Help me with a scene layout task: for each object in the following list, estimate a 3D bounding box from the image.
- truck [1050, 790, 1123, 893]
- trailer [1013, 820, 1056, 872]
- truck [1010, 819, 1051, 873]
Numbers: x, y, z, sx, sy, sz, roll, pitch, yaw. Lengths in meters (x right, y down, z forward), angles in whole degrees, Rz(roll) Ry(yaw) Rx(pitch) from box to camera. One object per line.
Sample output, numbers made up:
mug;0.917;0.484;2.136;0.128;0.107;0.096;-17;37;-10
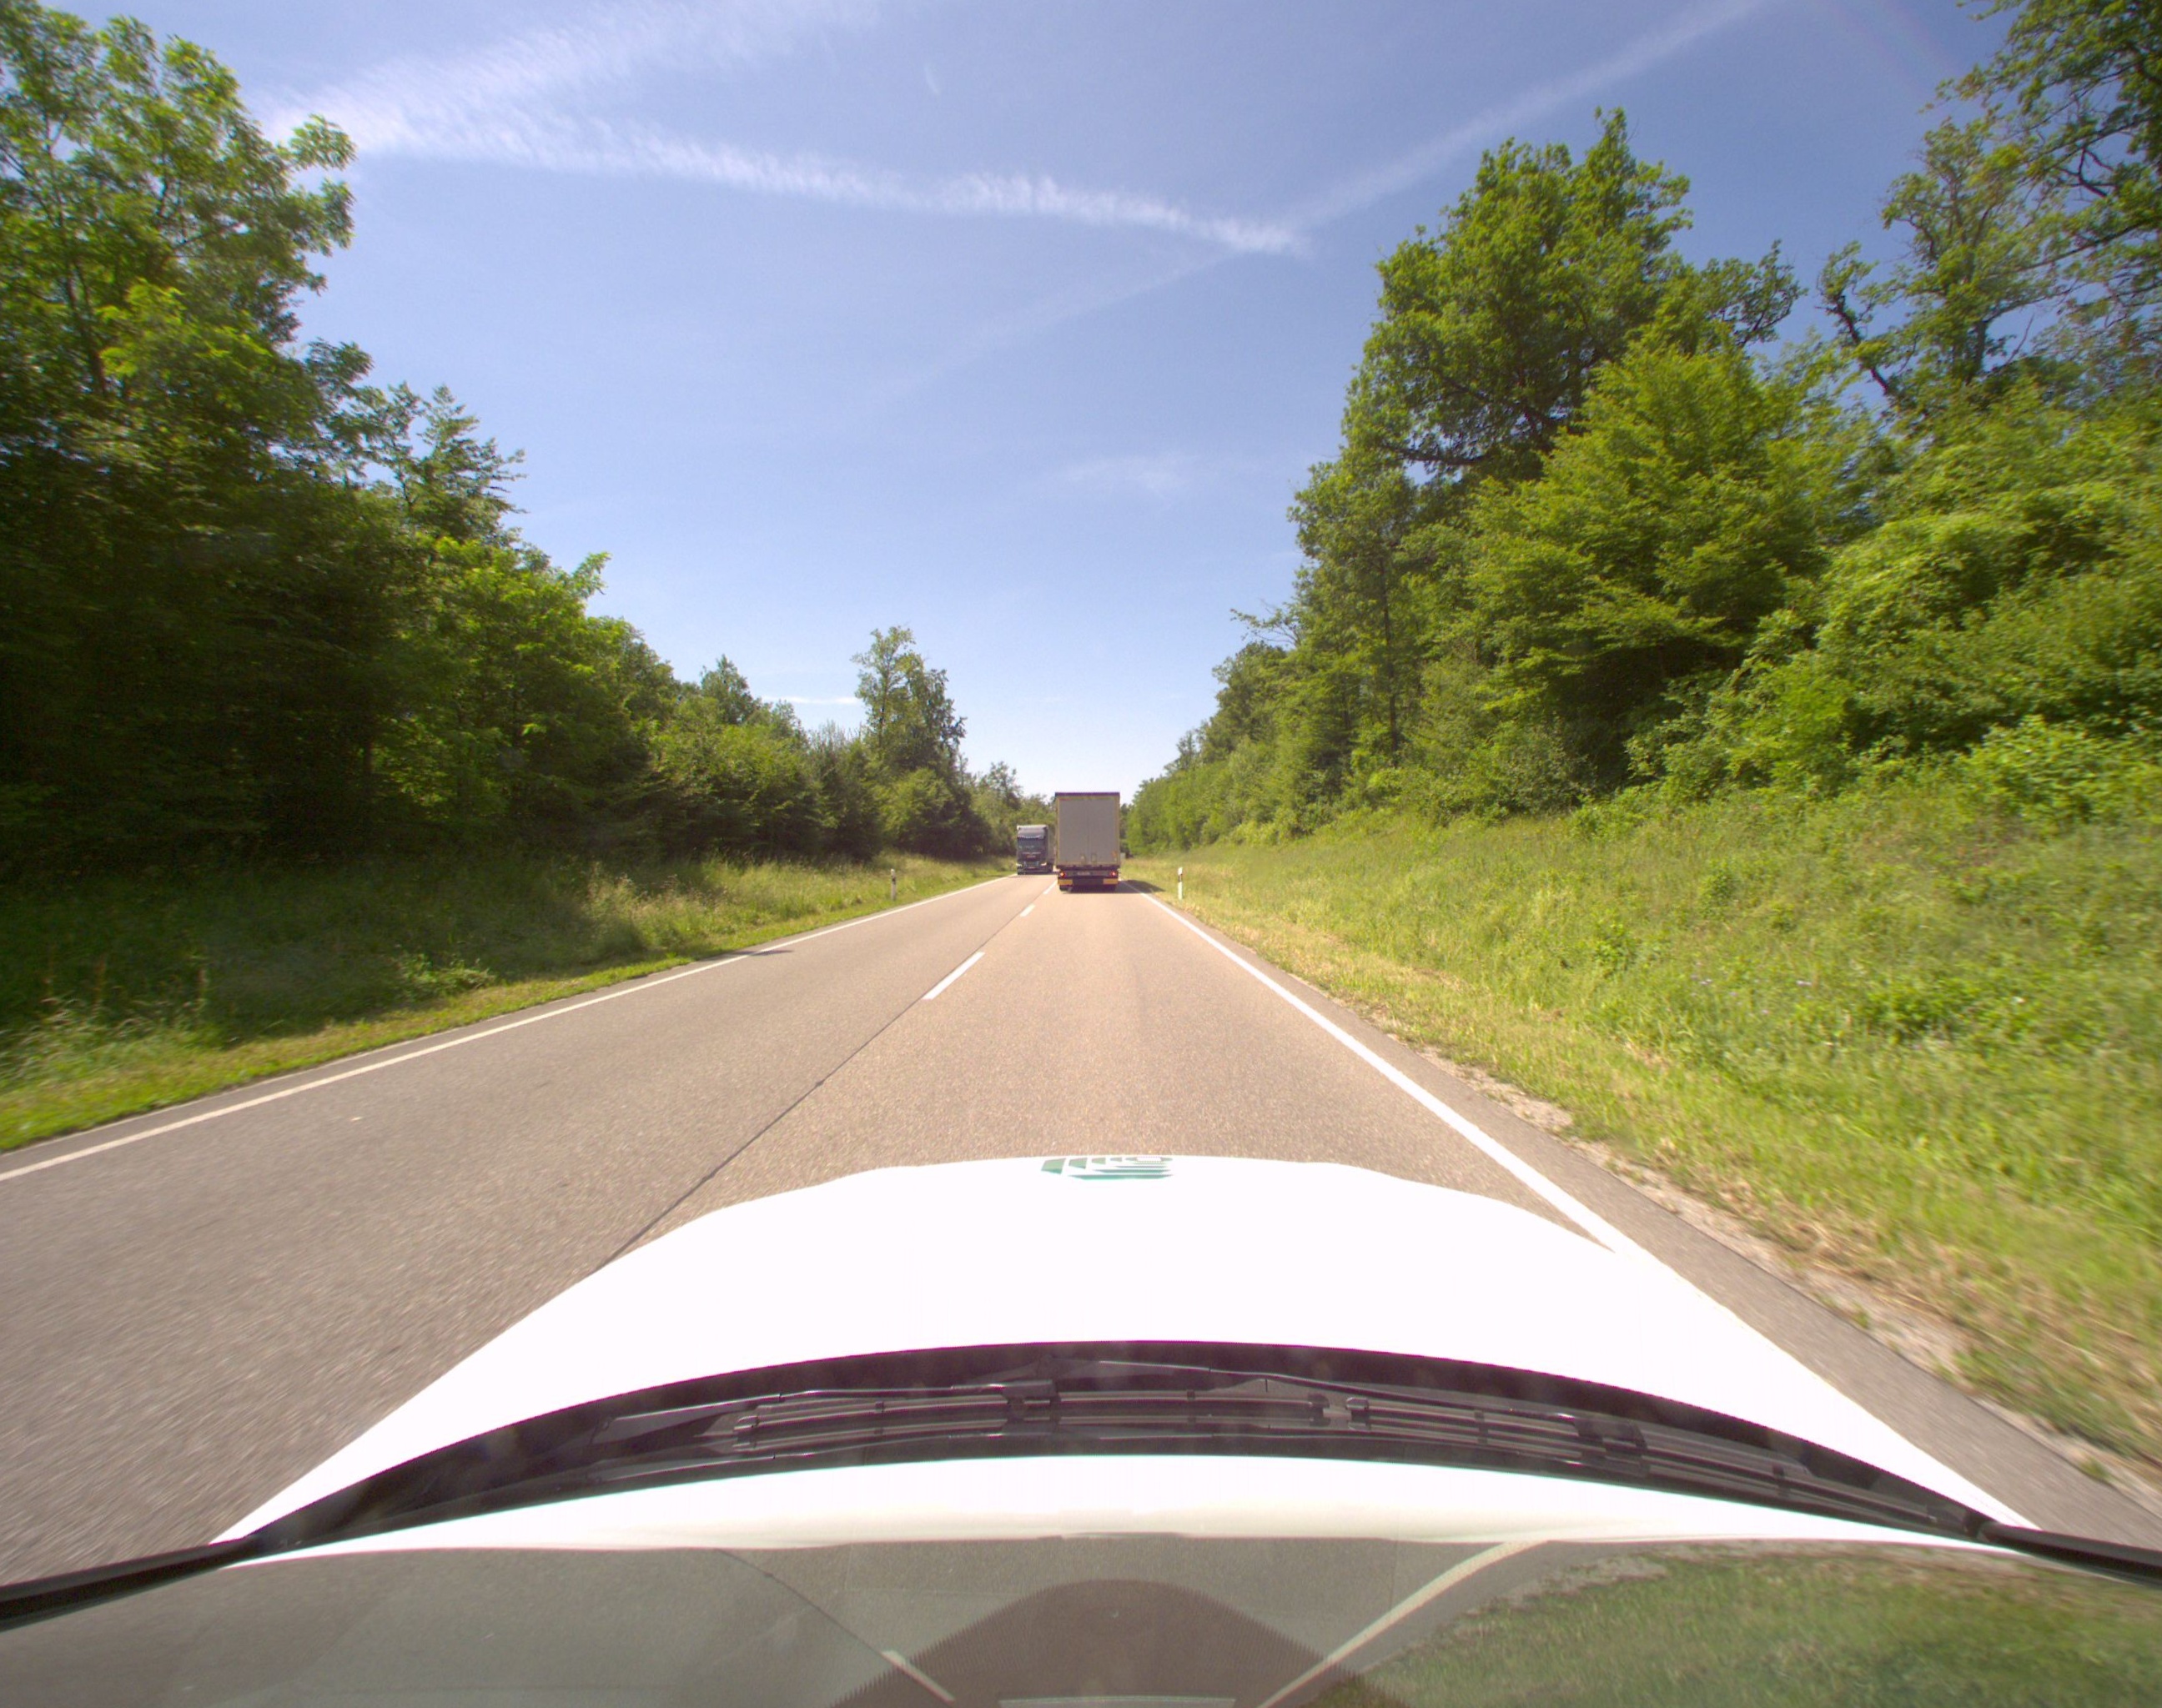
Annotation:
truck;0.274;-0.517;37.966;2.752;3.947;12.197;-1;0;0
trailer;-4.108;-0.676;74.789;2.932;4.252;13.618;-2;0;0
truck;-4.130;-0.659;67.683;2.913;4.216;5.342;-2;0;0
